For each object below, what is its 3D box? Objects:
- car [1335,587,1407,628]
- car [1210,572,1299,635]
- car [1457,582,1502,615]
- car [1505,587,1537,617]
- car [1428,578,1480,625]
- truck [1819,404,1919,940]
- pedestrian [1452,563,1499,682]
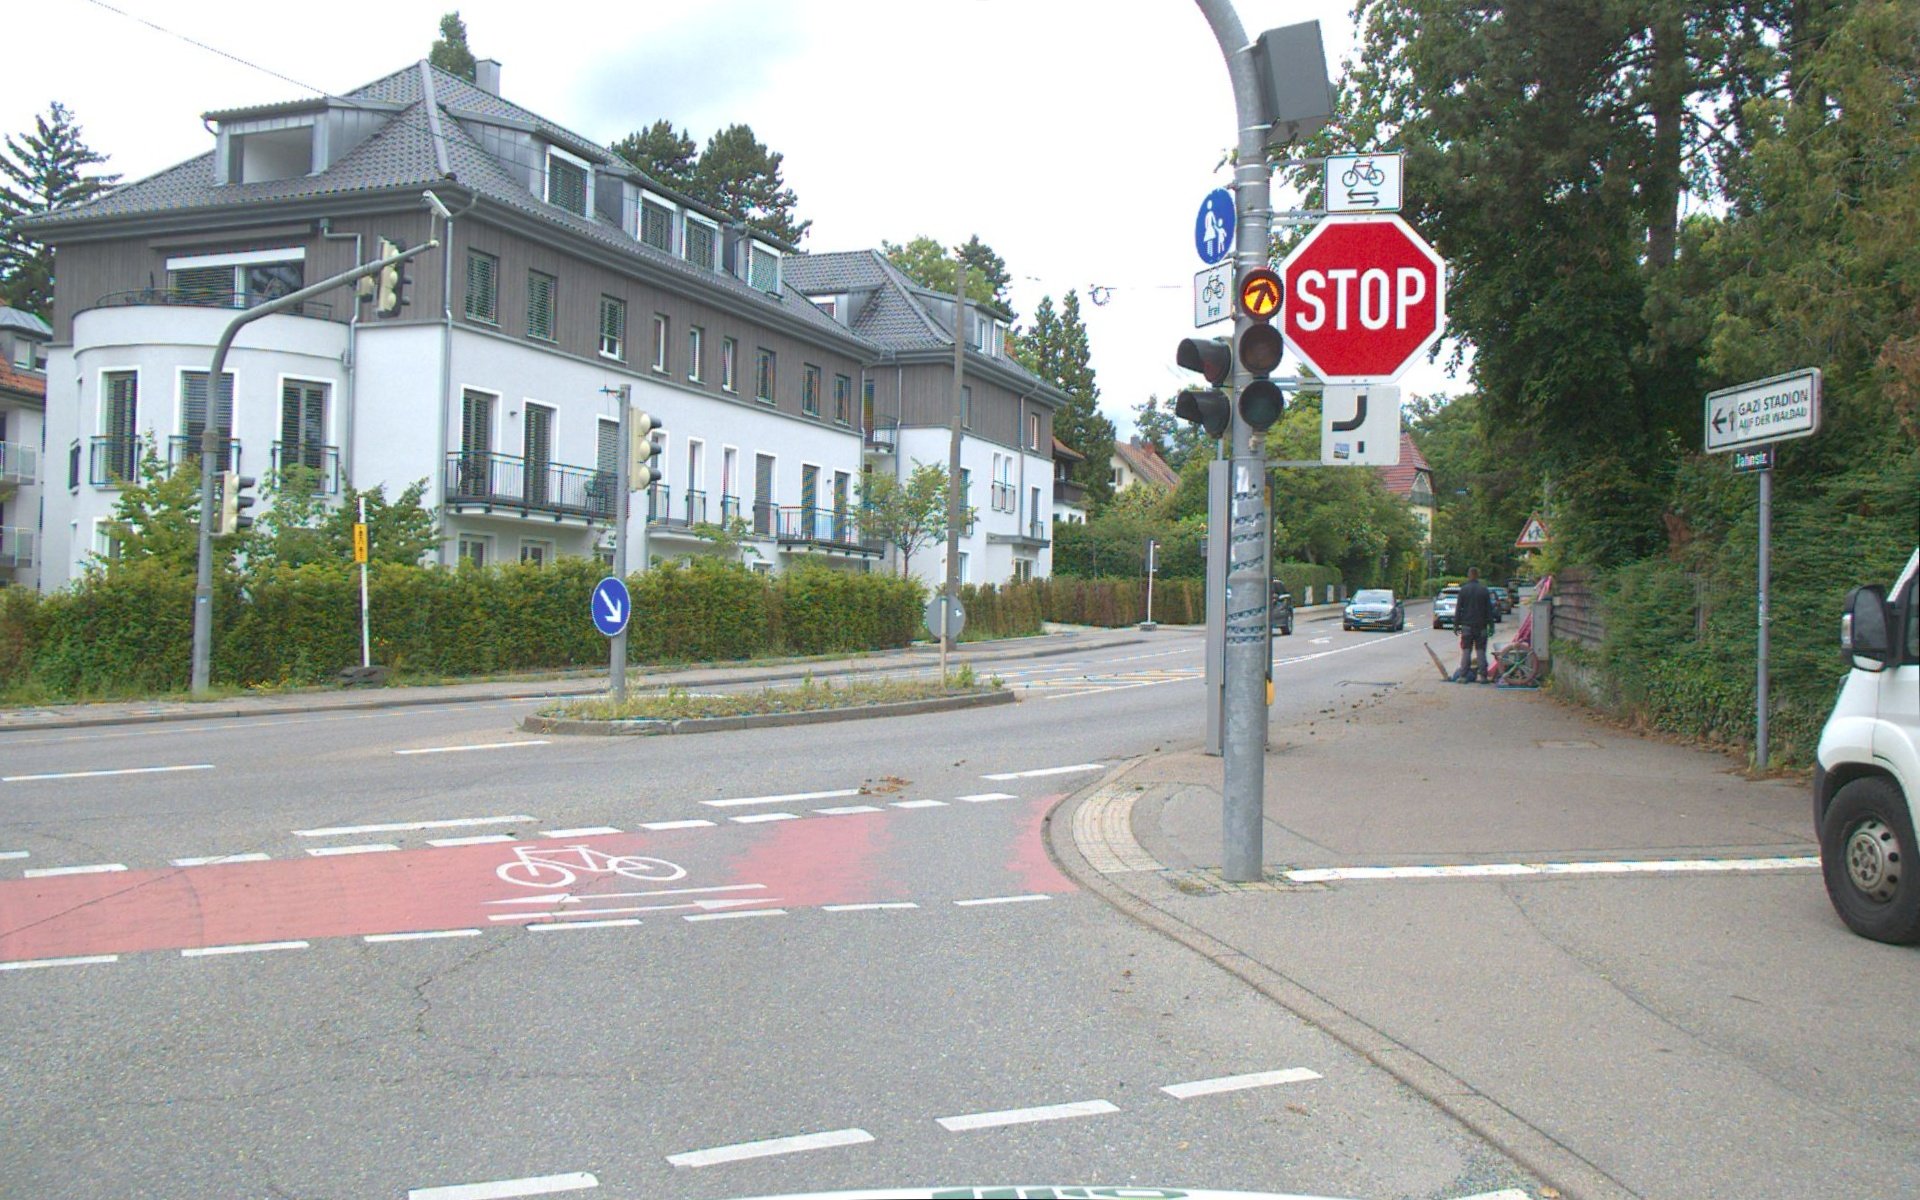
[{"bbox_3d":[15.031,0.250,60.312,1.899,1.428,4.742,1,1,22],"label":"car"},{"bbox_3d":[9.590,0.126,53.501,1.873,1.913,5.142,-1,-1,21],"label":"car"},{"bbox_3d":[25.102,-0.072,79.904,1.763,1.553,4.743,-1,0,21],"label":"car"},{"bbox_3d":[37.855,0.117,111.533,1.879,1.927,4.909,2,1,20],"label":"car"},{"bbox_3d":[19.861,0.049,66.424,1.770,1.784,4.488,-1,0,19],"label":"car"},{"bbox_3d":[5.135,0.323,5.015,2.162,2.283,5.724,1,0,1],"label":"truck"},{"bbox_3d":[8.558,0.370,27.486,0.584,1.940,0.558,1,0,0],"label":"pedestrian"}]
